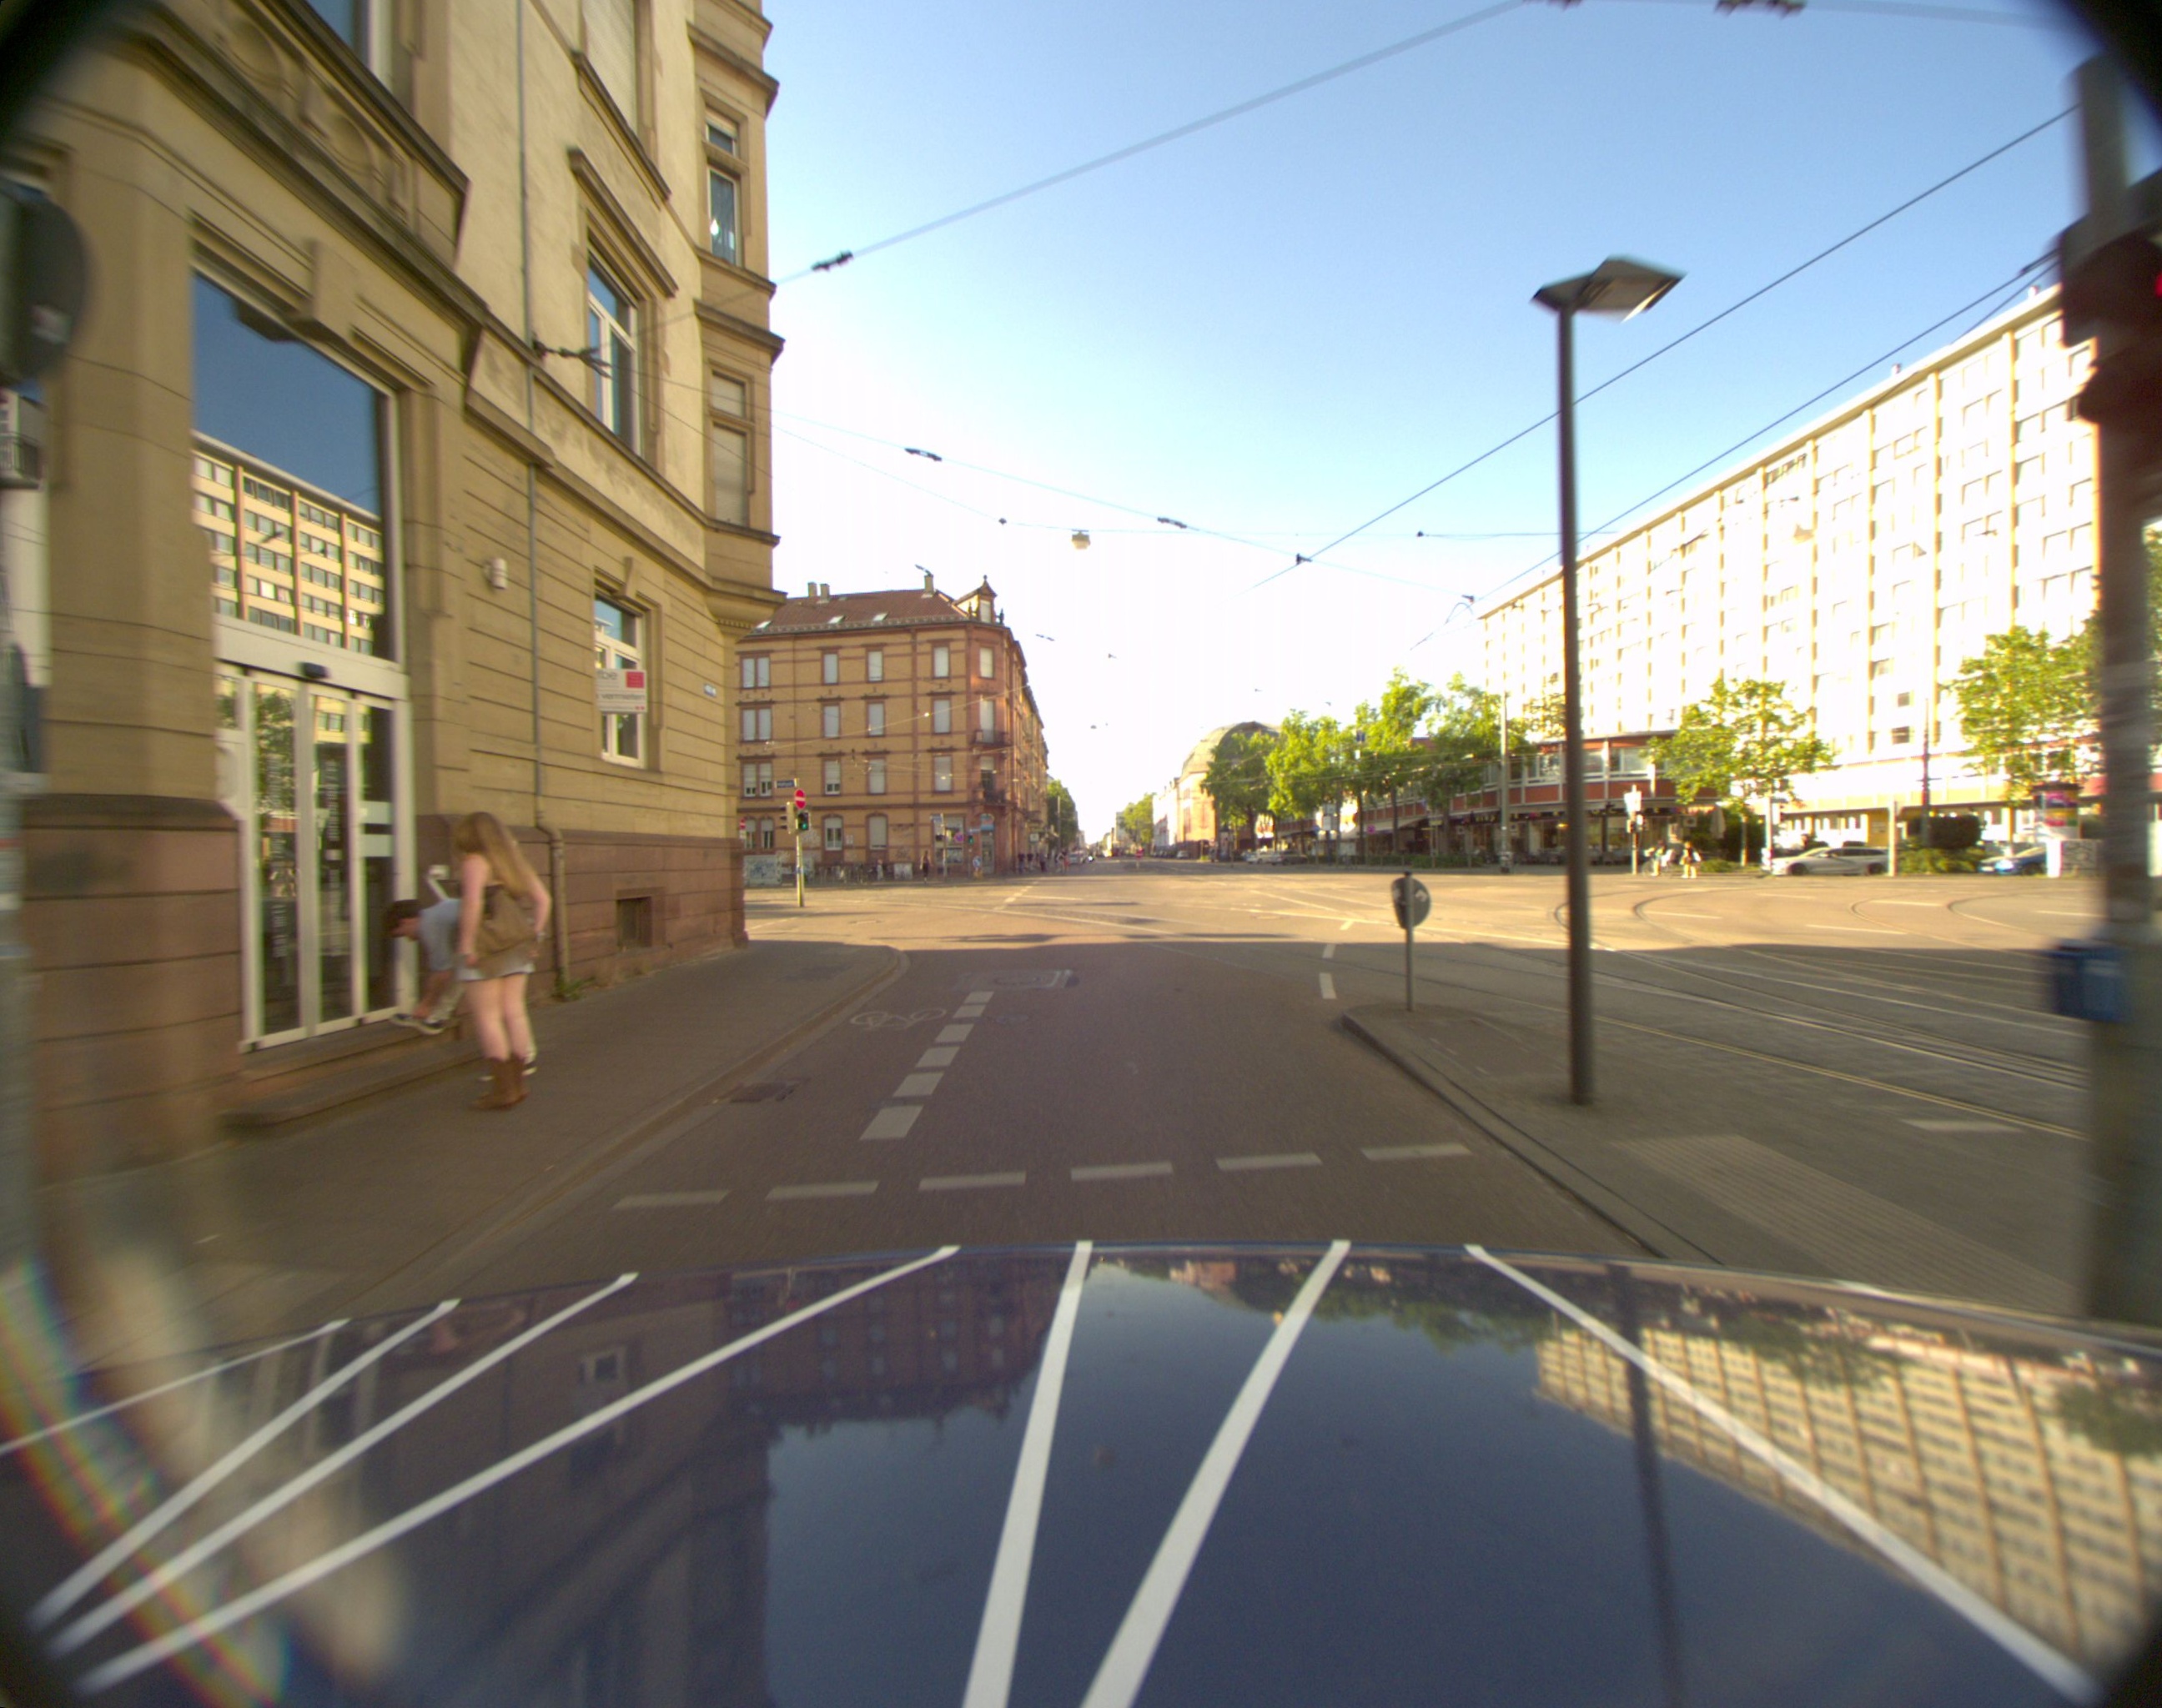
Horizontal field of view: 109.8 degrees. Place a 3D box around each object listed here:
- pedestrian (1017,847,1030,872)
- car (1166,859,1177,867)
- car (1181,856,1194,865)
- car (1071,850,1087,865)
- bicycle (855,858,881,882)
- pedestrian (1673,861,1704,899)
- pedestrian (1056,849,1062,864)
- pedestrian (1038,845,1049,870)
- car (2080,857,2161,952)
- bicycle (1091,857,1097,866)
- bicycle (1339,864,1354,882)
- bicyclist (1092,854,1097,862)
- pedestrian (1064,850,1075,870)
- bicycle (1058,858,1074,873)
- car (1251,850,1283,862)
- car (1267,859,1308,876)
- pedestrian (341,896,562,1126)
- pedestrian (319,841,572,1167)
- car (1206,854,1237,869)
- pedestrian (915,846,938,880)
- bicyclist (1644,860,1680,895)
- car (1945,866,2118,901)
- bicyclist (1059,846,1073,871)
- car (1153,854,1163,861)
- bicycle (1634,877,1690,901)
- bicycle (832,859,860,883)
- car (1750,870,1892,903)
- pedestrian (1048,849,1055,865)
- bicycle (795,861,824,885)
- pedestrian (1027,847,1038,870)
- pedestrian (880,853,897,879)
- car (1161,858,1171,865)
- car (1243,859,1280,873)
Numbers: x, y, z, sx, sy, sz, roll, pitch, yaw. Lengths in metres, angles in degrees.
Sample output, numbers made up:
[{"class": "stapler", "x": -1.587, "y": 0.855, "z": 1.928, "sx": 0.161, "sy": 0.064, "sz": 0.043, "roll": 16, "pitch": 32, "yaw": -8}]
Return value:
[{"class": "pedestrian", "x": -3.938, "y": 0.388, "z": 52.136, "sx": 0.777, "sy": 1.713, "sz": 0.754, "roll": 0, "pitch": 1, "yaw": 1}, {"class": "car", "x": 20.678, "y": 2.041, "z": 174.229, "sx": 1.965, "sy": 1.594, "sz": 3.999, "roll": -2, "pitch": 1, "yaw": -1}, {"class": "car", "x": 20.545, "y": 1.254, "z": 146.879, "sx": 1.910, "sy": 1.594, "sz": 3.999, "roll": -2, "pitch": 1, "yaw": -1}, {"class": "car", "x": -0.260, "y": 0.417, "z": 95.007, "sx": 1.670, "sy": 1.674, "sz": 4.001, "roll": -1, "pitch": 1, "yaw": 4}, {"class": "bicycle", "x": -11.650, "y": 0.911, "z": 41.630, "sx": 0.755, "sy": 1.255, "sz": 1.837, "roll": -1, "pitch": -3, "yaw": 5}, {"class": "pedestrian", "x": 27.366, "y": 1.169, "z": 34.231, "sx": 0.870, "sy": 1.672, "sz": 0.697, "roll": 0, "pitch": -1, "yaw": 9}, {"class": "pedestrian", "x": -2.431, "y": 0.279, "z": 83.680, "sx": 0.700, "sy": 1.713, "sz": 0.502, "roll": 1, "pitch": 1, "yaw": 2}, {"class": "pedestrian", "x": -2.842, "y": 0.285, "z": 57.895, "sx": 0.824, "sy": 1.883, "sz": 0.754, "roll": 0, "pitch": 1, "yaw": 1}, {"class": "car", "x": 23.482, "y": 1.032, "z": 16.043, "sx": 1.994, "sy": 1.827, "sz": 5.359, "roll": 1, "pitch": 0, "yaw": 43}, {"class": "bicycle", "x": 1.863, "y": 1.057, "z": 107.974, "sx": 0.646, "sy": 1.176, "sz": 1.804, "roll": -1, "pitch": 1, "yaw": -2}, {"class": "bicycle", "x": 19.238, "y": 1.349, "z": 55.016, "sx": 0.582, "sy": 1.227, "sz": 1.857, "roll": -2, "pitch": 1, "yaw": 6}, {"class": "bicyclist", "x": 1.915, "y": 0.571, "z": 107.999, "sx": 0.646, "sy": 1.176, "sz": 0.723, "roll": -1, "pitch": 1, "yaw": -2}, {"class": "pedestrian", "x": -0.926, "y": 0.518, "z": 62.952, "sx": 0.849, "sy": 1.652, "sz": 0.850, "roll": 0, "pitch": 1, "yaw": 4}, {"class": "bicycle", "x": -1.007, "y": 0.791, "z": 51.457, "sx": 0.885, "sy": 0.949, "sz": 1.766, "roll": -1, "pitch": 1, "yaw": 4}, {"class": "car", "x": 32.208, "y": 0.385, "z": 131.669, "sx": 4.983, "sy": 2.002, "sz": 1.999, "roll": -1, "pitch": 1, "yaw": -1}, {"class": "car", "x": 21.530, "y": 1.387, "z": 79.171, "sx": 4.006, "sy": 1.545, "sz": 1.793, "roll": -3, "pitch": 1, "yaw": -30}, {"class": "pedestrian", "x": -4.019, "y": 0.967, "z": 4.920, "sx": 0.796, "sy": 1.324, "sz": 0.719, "roll": 0, "pitch": 2, "yaw": -1}, {"class": "pedestrian", "x": -3.570, "y": 0.793, "z": 4.346, "sx": 0.796, "sy": 1.712, "sz": 0.719, "roll": 0, "pitch": 2, "yaw": -1}, {"class": "car", "x": 20.164, "y": 1.094, "z": 109.010, "sx": 4.006, "sy": 1.953, "sz": 1.907, "roll": -3, "pitch": 2, "yaw": -34}, {"class": "pedestrian", "x": -8.290, "y": 0.478, "z": 40.747, "sx": 1.026, "sy": 1.796, "sz": 1.083, "roll": -1, "pitch": 1, "yaw": -2}, {"class": "bicyclist", "x": 25.437, "y": 1.012, "z": 33.264, "sx": 0.842, "sy": 1.459, "sz": 0.897, "roll": 2, "pitch": 1, "yaw": 6}, {"class": "car", "x": 41.747, "y": 1.271, "z": 33.518, "sx": 4.446, "sy": 1.413, "sz": 1.893, "roll": 0, "pitch": 1, "yaw": 17}, {"class": "bicyclist", "x": -1.009, "y": 0.314, "z": 51.455, "sx": 0.885, "sy": 1.651, "sz": 0.803, "roll": -1, "pitch": 1, "yaw": 4}, {"class": "car", "x": 20.215, "y": 0.836, "z": 199.356, "sx": 1.965, "sy": 1.594, "sz": 3.999, "roll": -2, "pitch": 1, "yaw": -1}, {"class": "bicycle", "x": 25.424, "y": 1.521, "z": 33.316, "sx": 0.842, "sy": 0.922, "sz": 2.265, "roll": 2, "pitch": 1, "yaw": 6}, {"class": "bicycle", "x": -12.971, "y": 0.968, "z": 41.949, "sx": 0.755, "sy": 1.255, "sz": 1.970, "roll": -1, "pitch": -3, "yaw": 5}, {"class": "car", "x": 35.179, "y": 1.524, "z": 36.270, "sx": 4.446, "sy": 1.413, "sz": 1.893, "roll": 0, "pitch": 1, "yaw": 17}, {"class": "pedestrian", "x": -3.260, "y": 0.314, "z": 83.975, "sx": 0.700, "sy": 1.713, "sz": 0.681, "roll": 1, "pitch": 1, "yaw": 2}, {"class": "bicycle", "x": -14.961, "y": 1.055, "z": 41.926, "sx": 0.755, "sy": 1.255, "sz": 1.970, "roll": -1, "pitch": -3, "yaw": 5}, {"class": "pedestrian", "x": -3.722, "y": 0.332, "z": 58.209, "sx": 0.777, "sy": 1.713, "sz": 0.754, "roll": 0, "pitch": 1, "yaw": 1}, {"class": "pedestrian", "x": -12.535, "y": 0.783, "z": 49.557, "sx": 0.743, "sy": 1.563, "sz": 0.763, "roll": -2, "pitch": 5, "yaw": 7}, {"class": "car", "x": 20.185, "y": 1.790, "z": 180.470, "sx": 1.965, "sy": 1.594, "sz": 3.999, "roll": -2, "pitch": 1, "yaw": -1}, {"class": "car", "x": 21.384, "y": 1.432, "z": 89.959, "sx": 4.006, "sy": 1.466, "sz": 1.793, "roll": -3, "pitch": 1, "yaw": -30}]
